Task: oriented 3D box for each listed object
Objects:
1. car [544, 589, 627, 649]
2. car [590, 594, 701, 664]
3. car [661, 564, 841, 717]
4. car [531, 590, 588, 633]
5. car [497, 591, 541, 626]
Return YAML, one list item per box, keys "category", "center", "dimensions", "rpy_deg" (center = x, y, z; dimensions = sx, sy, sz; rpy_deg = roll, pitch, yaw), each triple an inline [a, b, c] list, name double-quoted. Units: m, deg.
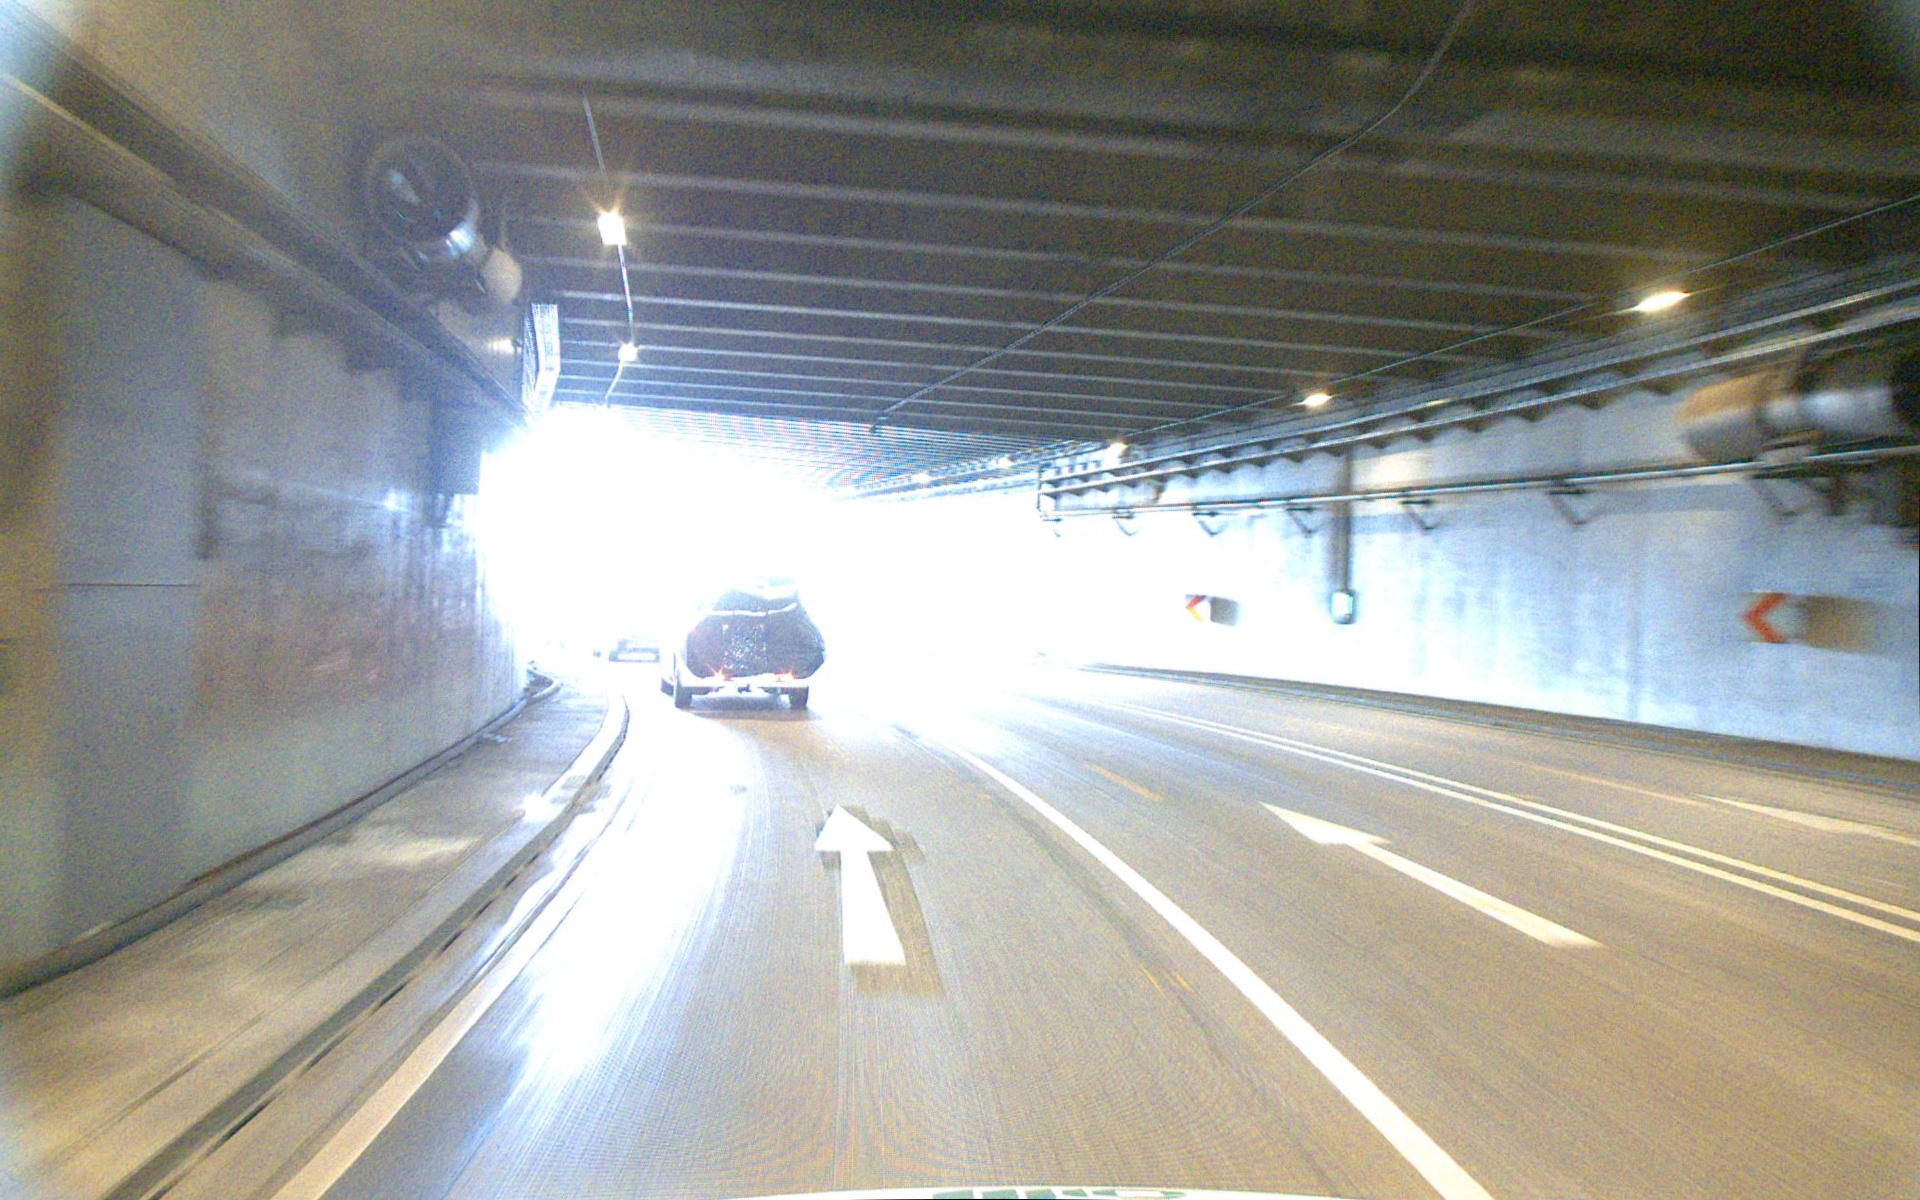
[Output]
- category: "car"
  center: [-10.833, 0.510, 47.689]
  dimensions: [1.891, 1.514, 4.044]
  rpy_deg: [3, 0, -19]
- category: "car"
  center: [-7.219, 0.621, 37.724]
  dimensions: [1.789, 1.459, 4.040]
  rpy_deg: [2, 0, -21]
- category: "car"
  center: [-3.112, 0.484, 23.542]
  dimensions: [1.959, 1.891, 5.621]
  rpy_deg: [0, 0, -13]
- category: "car"
  center: [-16.665, 0.455, 68.785]
  dimensions: [1.963, 1.693, 3.980]
  rpy_deg: [2, 0, -18]
- category: "car"
  center: [-23.060, 0.427, 86.354]
  dimensions: [1.963, 1.693, 3.980]
  rpy_deg: [2, 0, -18]
